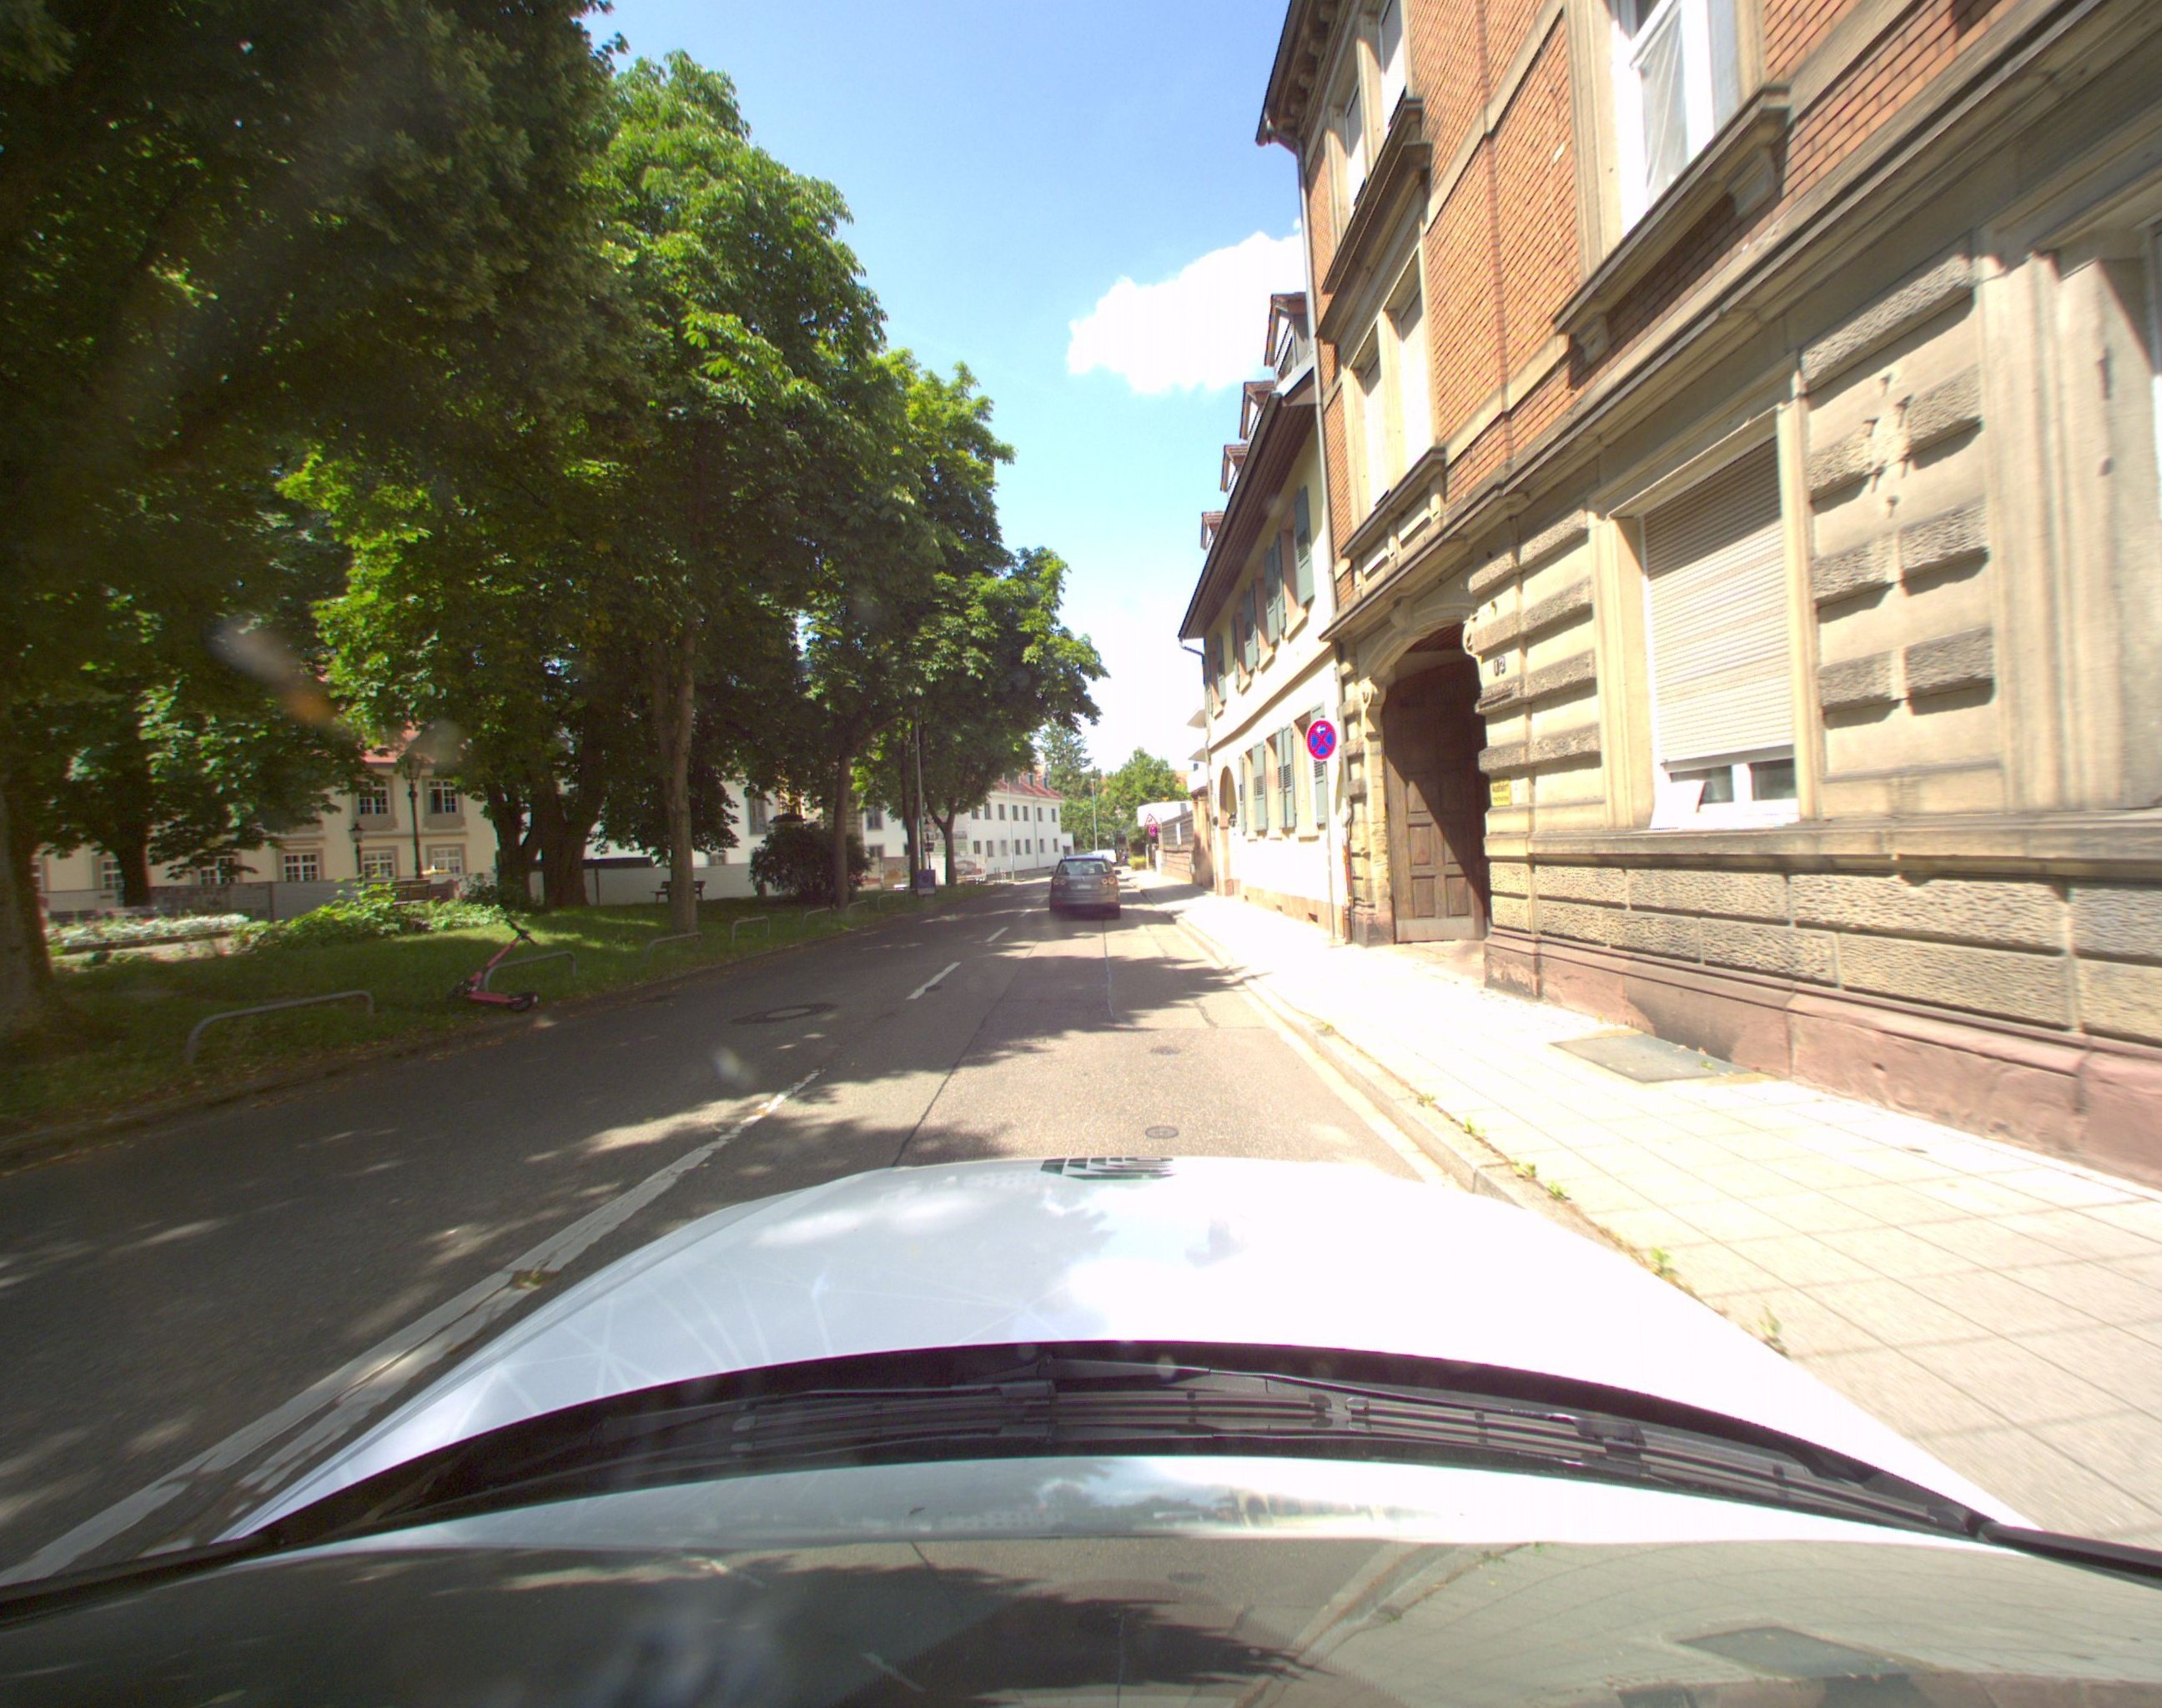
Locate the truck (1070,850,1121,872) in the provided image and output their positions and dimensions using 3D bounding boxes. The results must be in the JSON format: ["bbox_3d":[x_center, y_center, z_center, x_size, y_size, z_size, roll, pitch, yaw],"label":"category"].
[{"bbox_3d":[1.443,0.694,81.538,4.787,2.013,2.141,-3,0,-6],"label":"truck"}]

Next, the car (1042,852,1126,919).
[{"bbox_3d":[0.187,0.767,21.169,1.895,1.534,4.247,-1,-1,3],"label":"car"}]

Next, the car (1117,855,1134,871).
[{"bbox_3d":[4.721,0.944,86.104,1.641,1.574,3.640,-2,0,1],"label":"car"}]

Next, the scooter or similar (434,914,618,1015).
[{"bbox_3d":[-7.012,1.369,10.410,1.268,0.991,1.451,5,-1,-1],"label":"scooter or similar"}]
